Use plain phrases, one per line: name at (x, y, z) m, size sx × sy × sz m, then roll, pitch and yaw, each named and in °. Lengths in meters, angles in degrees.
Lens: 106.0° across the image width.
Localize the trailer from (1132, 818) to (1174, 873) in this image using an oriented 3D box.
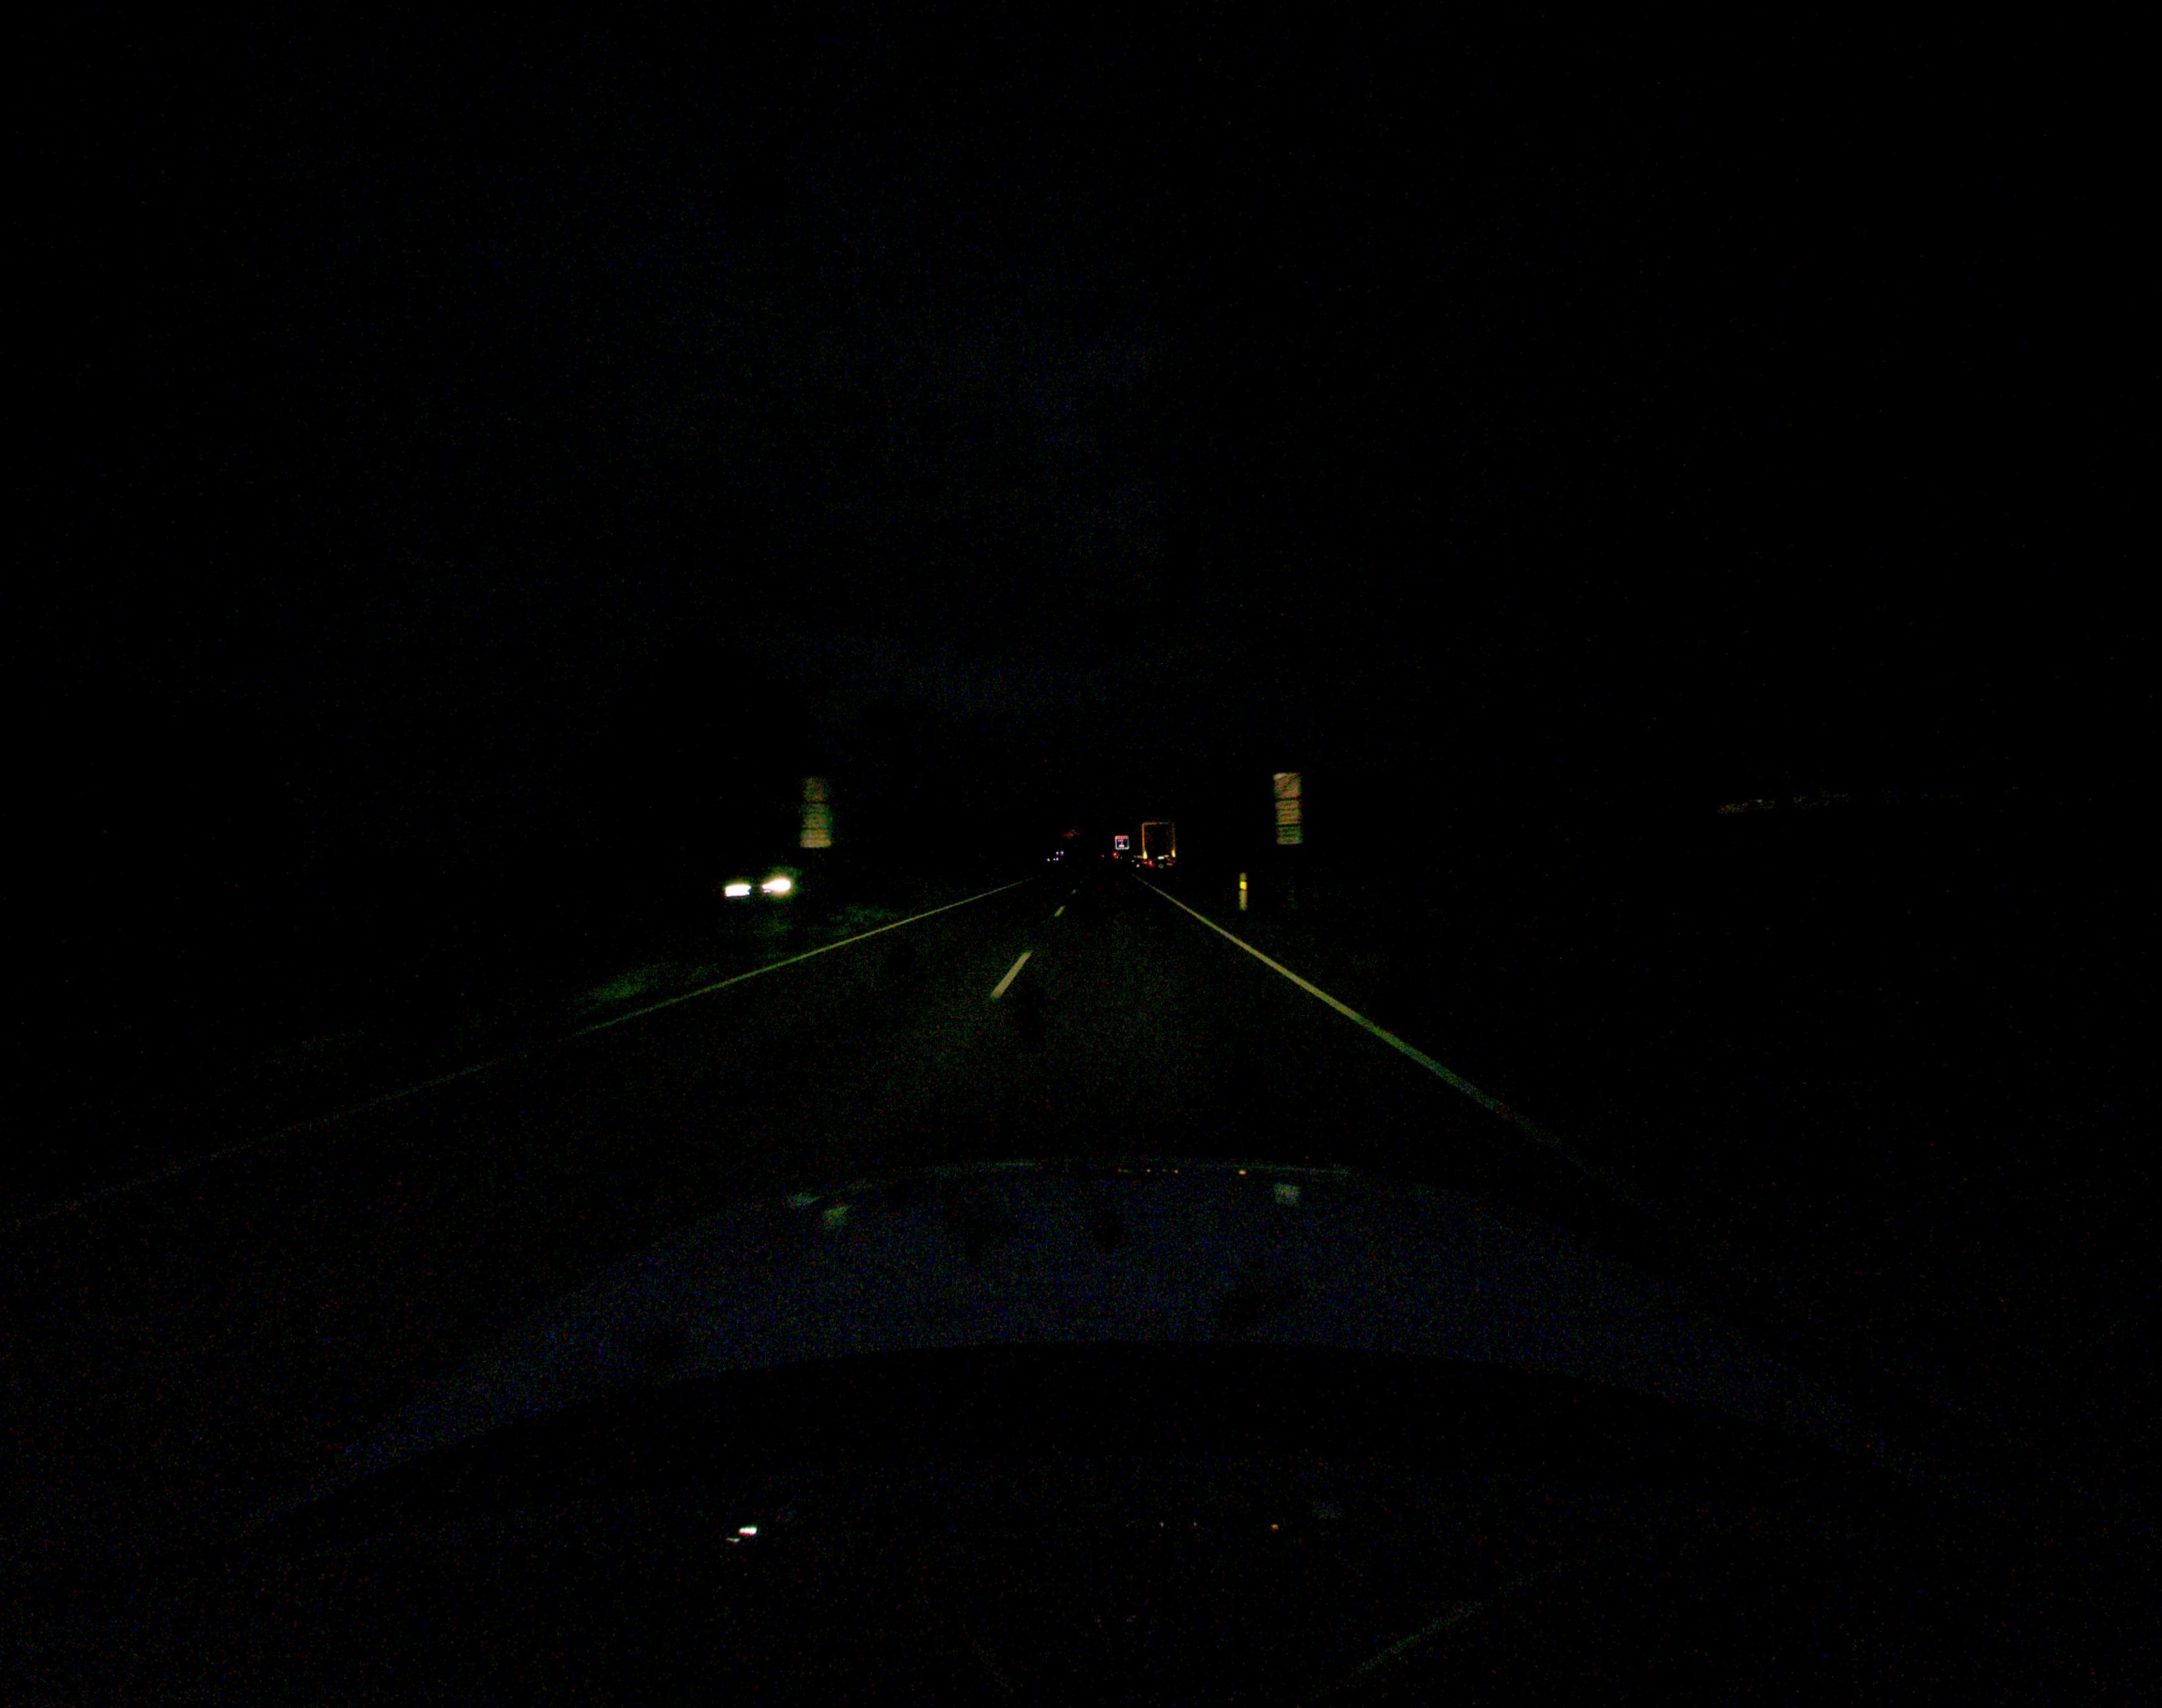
trailer at (5.979, -0.652, 69.577) m, size 2.612 × 4.104 × 12.941 m, roll -2°, pitch 0°, yaw 1°

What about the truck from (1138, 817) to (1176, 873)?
truck at (5.797, -0.667, 62.661) m, size 2.569 × 4.071 × 6.133 m, roll -1°, pitch 0°, yaw 2°

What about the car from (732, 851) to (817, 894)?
car at (-11.446, 0.643, 30.666) m, size 1.649 × 1.505 × 4.000 m, roll 0°, pitch 0°, yaw 0°
